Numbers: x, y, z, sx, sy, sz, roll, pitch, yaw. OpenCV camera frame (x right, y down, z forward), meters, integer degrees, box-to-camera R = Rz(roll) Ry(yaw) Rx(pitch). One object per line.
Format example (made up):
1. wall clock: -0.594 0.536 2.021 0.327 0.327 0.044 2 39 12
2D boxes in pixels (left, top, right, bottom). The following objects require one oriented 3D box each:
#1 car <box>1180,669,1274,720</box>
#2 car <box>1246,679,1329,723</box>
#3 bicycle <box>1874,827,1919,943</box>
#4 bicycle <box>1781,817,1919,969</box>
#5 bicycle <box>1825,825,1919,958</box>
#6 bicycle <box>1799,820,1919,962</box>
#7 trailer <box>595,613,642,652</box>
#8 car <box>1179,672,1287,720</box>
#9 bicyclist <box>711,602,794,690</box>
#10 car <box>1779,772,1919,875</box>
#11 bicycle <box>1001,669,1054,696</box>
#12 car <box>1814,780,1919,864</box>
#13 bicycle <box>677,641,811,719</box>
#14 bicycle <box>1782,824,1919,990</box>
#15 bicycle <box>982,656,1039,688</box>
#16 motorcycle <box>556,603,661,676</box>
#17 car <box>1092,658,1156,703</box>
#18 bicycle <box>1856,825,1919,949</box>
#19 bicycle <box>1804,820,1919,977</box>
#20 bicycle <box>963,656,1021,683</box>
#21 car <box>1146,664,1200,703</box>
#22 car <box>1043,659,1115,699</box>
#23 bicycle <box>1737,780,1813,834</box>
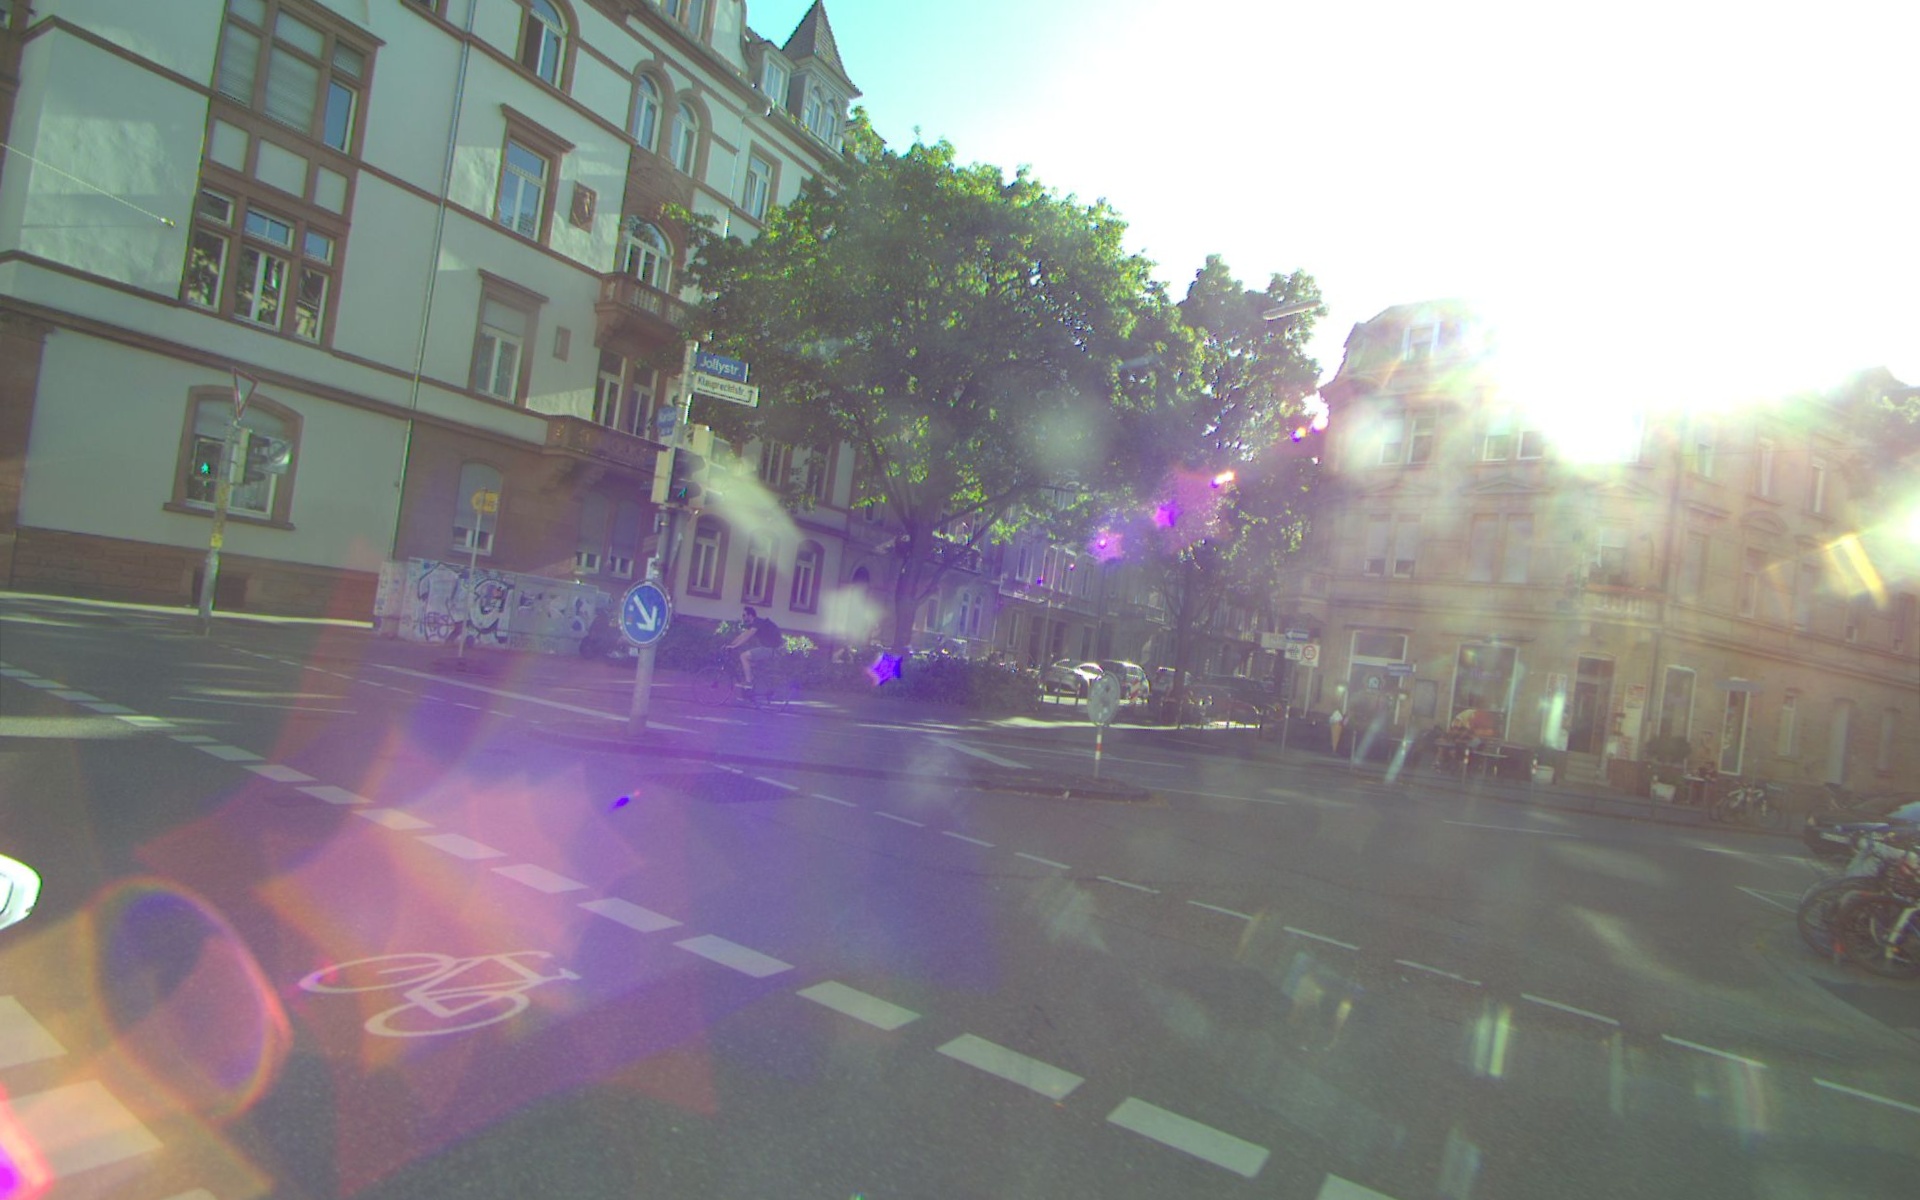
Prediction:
1. car: 12.696 4.468 47.927 3.924 1.885 1.639 7 0 5
2. car: 18.730 5.780 57.611 3.927 1.883 2.004 8 -2 0
3. bicycle: 10.862 3.101 10.308 0.613 1.155 2.101 9 -4 -36
4. bicycle: 8.774 2.713 8.986 0.613 1.155 2.101 9 -4 -36
5. bicycle: 9.815 2.945 9.709 0.613 1.155 2.101 9 -4 -36
6. bicycle: 9.339 2.844 9.459 0.613 1.155 2.101 9 -4 -36
7. trailer: -9.467 0.906 27.909 0.818 0.934 0.782 6 -2 30
8. car: 11.549 4.062 42.750 4.099 1.449 1.639 7 -1 5
9. bicyclist: -3.647 0.807 17.639 1.121 1.358 0.833 9 -2 -24
10. car: 18.378 4.415 19.331 4.183 1.514 1.843 8 -3 -13
11. bicycle: 2.955 3.616 44.345 2.022 0.740 1.014 11 0 38
12. car: 22.197 5.249 23.334 4.195 1.514 1.838 9 -3 -22
13. bicycle: -3.780 1.406 17.610 2.071 1.056 0.843 9 -2 -24
14. bicycle: 8.085 2.594 8.118 0.613 1.155 2.101 9 -4 -36
15. bicycle: 2.136 3.061 42.836 2.127 0.898 1.014 11 1 38
16. motorcycle: -7.480 0.823 21.347 2.350 1.138 0.612 9 0 31
17. car: 8.600 4.232 52.623 1.611 1.884 3.995 10 -1 33
18. bicycle: 10.379 3.013 9.975 0.613 1.155 2.101 9 -4 -36
19. bicycle: 8.483 2.619 8.358 0.613 1.155 2.101 9 -3 -36
20. bicycle: 1.308 2.856 41.363 2.127 0.658 1.014 11 0 38
21. car: 12.751 5.000 60.022 1.713 1.884 3.996 10 -1 31
22. car: 5.705 3.785 47.838 1.537 1.445 3.800 10 -1 37
23. bicycle: 19.372 4.915 23.907 1.852 1.055 0.396 9 -2 -19
